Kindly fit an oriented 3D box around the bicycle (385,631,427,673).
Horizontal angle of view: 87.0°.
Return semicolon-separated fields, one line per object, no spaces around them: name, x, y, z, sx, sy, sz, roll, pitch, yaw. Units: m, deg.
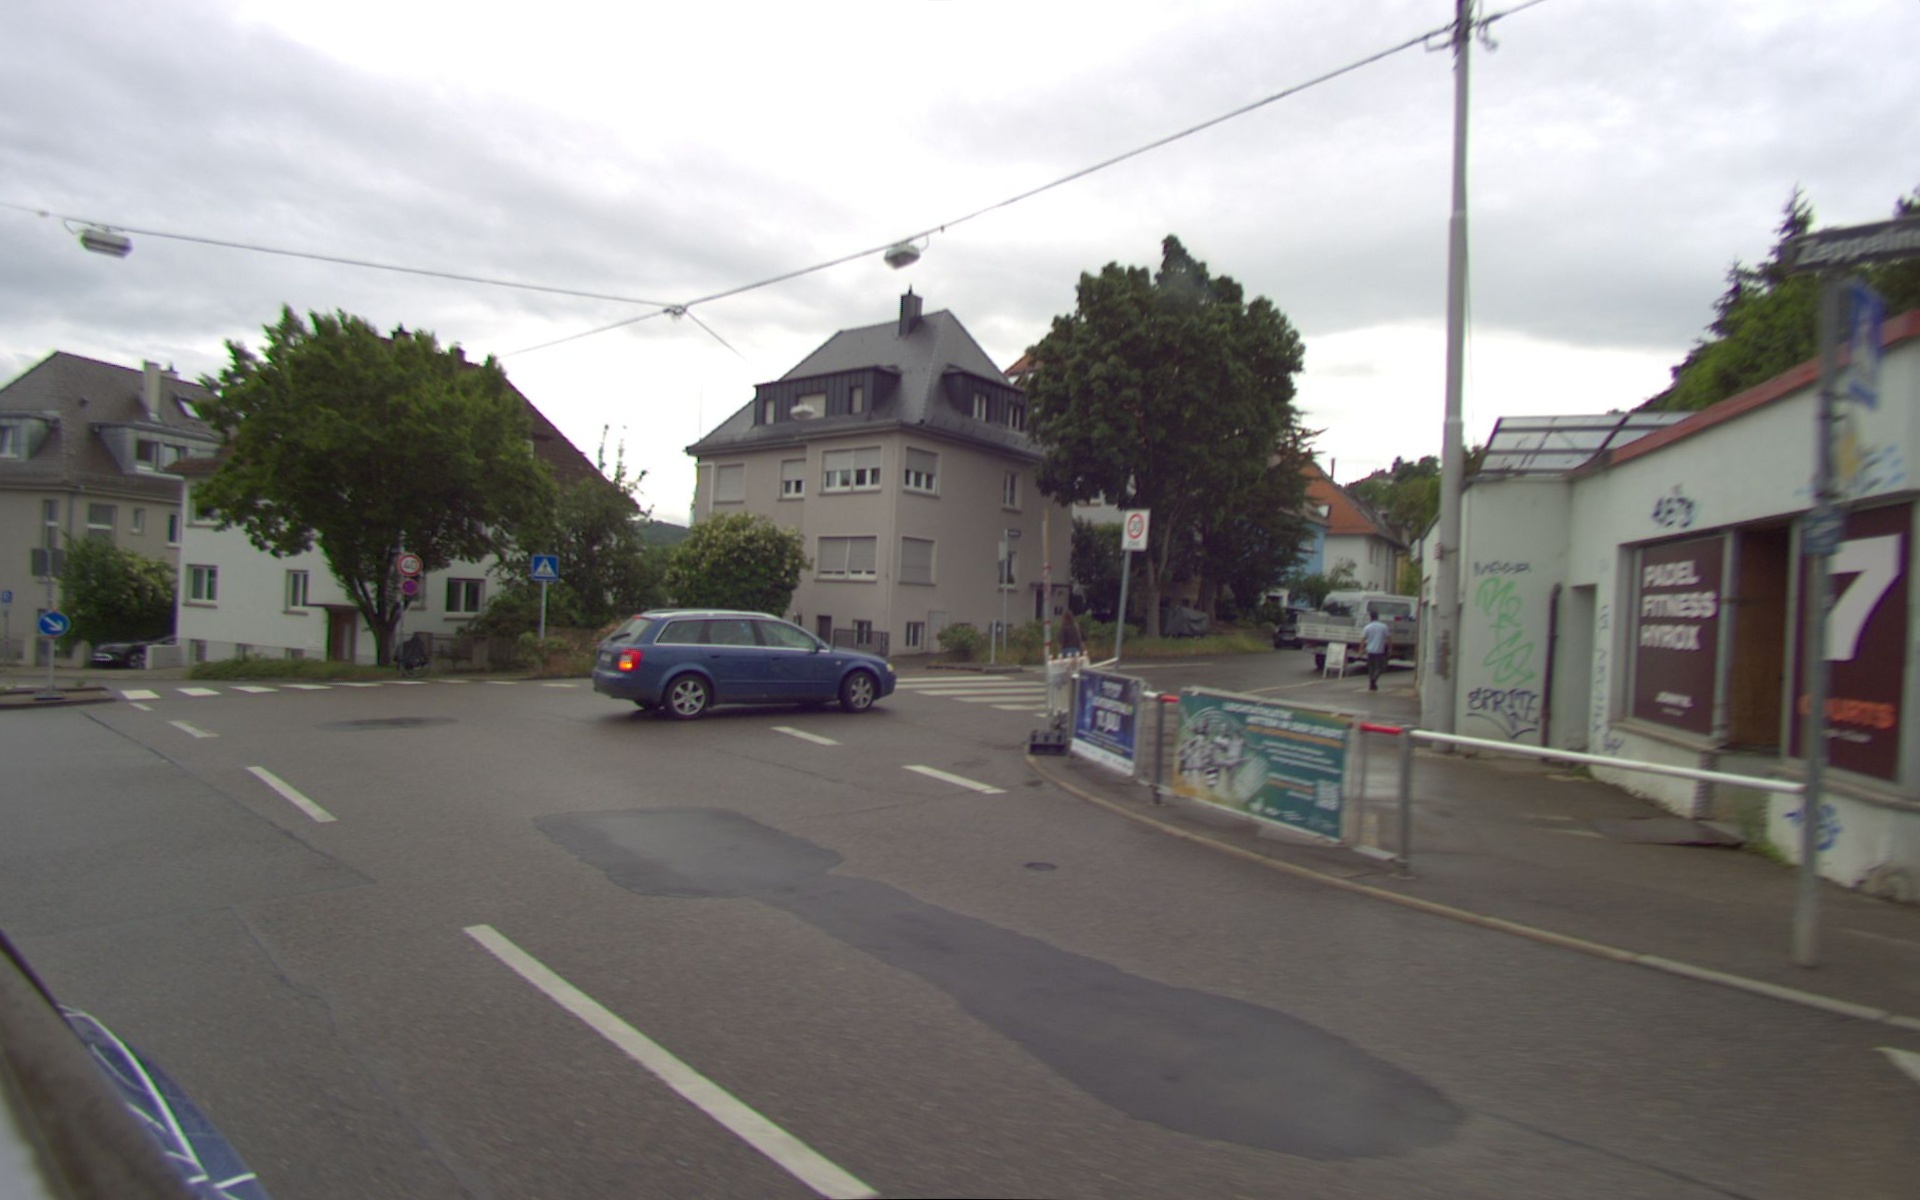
bicycle;-15.121;1.439;27.588;1.964;1.093;0.416;-4;-2;44

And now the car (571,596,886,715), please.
car;-3.276;0.749;14.574;4.013;1.450;1.822;2;0;-34

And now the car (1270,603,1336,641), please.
car;14.579;0.912;42.949;1.540;1.539;3.634;-2;-1;38

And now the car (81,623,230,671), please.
car;-31.832;1.825;40.202;1.986;1.636;4.224;-1;1;21

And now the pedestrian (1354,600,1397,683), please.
pedestrian;9.349;0.929;22.791;0.802;1.819;0.702;-1;0;20

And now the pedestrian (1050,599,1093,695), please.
pedestrian;2.026;0.851;18.393;0.616;1.702;0.585;1;-2;-8

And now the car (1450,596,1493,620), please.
car;35.513;0.562;70.210;1.737;1.597;3.945;-2;-1;41

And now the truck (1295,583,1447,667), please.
truck;12.671;0.660;30.877;2.313;2.286;6.718;1;1;40

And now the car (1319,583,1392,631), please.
car;18.641;0.306;47.552;1.835;2.139;4.977;-2;-1;38
